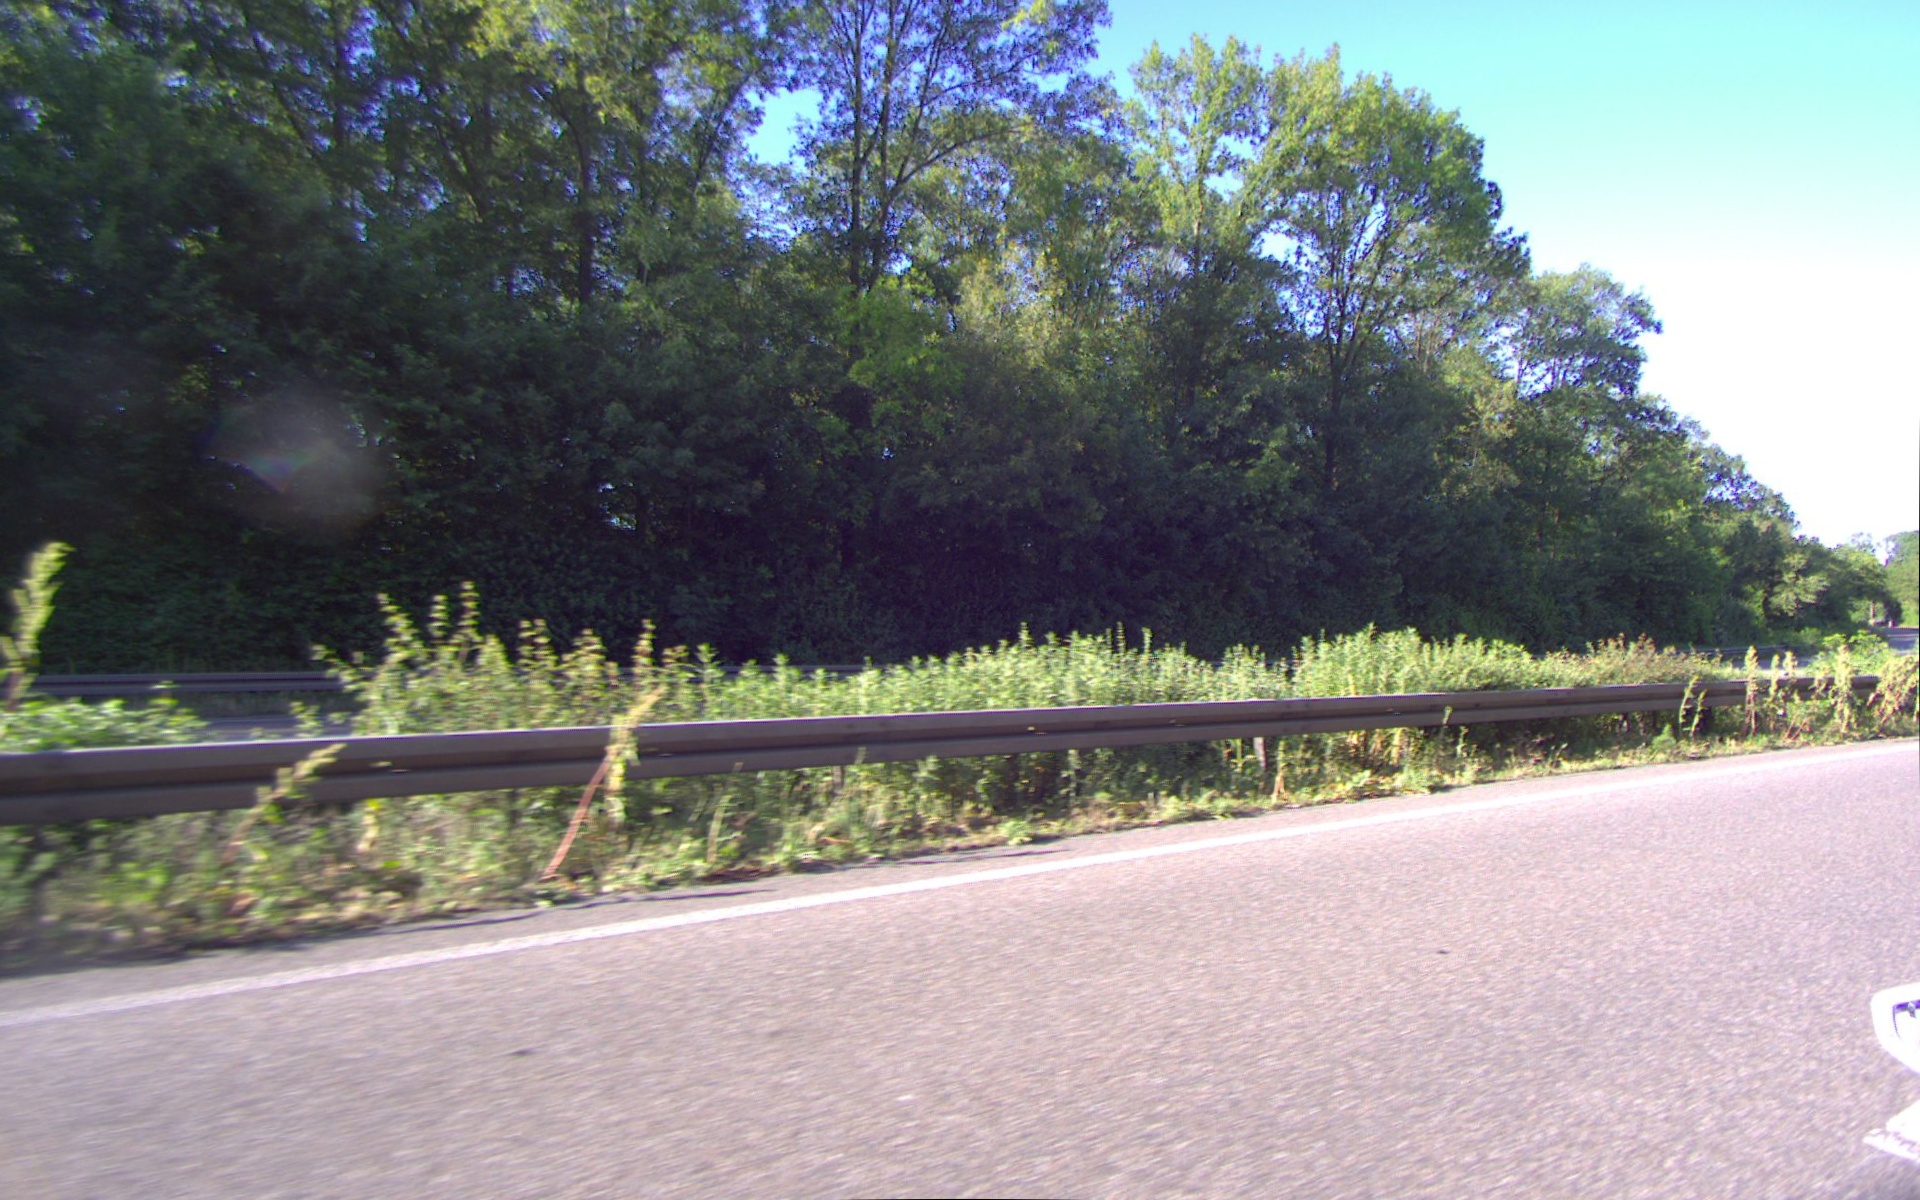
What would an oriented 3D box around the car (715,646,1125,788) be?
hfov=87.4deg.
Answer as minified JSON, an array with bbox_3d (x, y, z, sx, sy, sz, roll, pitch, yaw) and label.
[{"bbox_3d":[-0.441,1.430,13.492,5.178,1.506,1.984,2,0,-31],"label":"car"}]
